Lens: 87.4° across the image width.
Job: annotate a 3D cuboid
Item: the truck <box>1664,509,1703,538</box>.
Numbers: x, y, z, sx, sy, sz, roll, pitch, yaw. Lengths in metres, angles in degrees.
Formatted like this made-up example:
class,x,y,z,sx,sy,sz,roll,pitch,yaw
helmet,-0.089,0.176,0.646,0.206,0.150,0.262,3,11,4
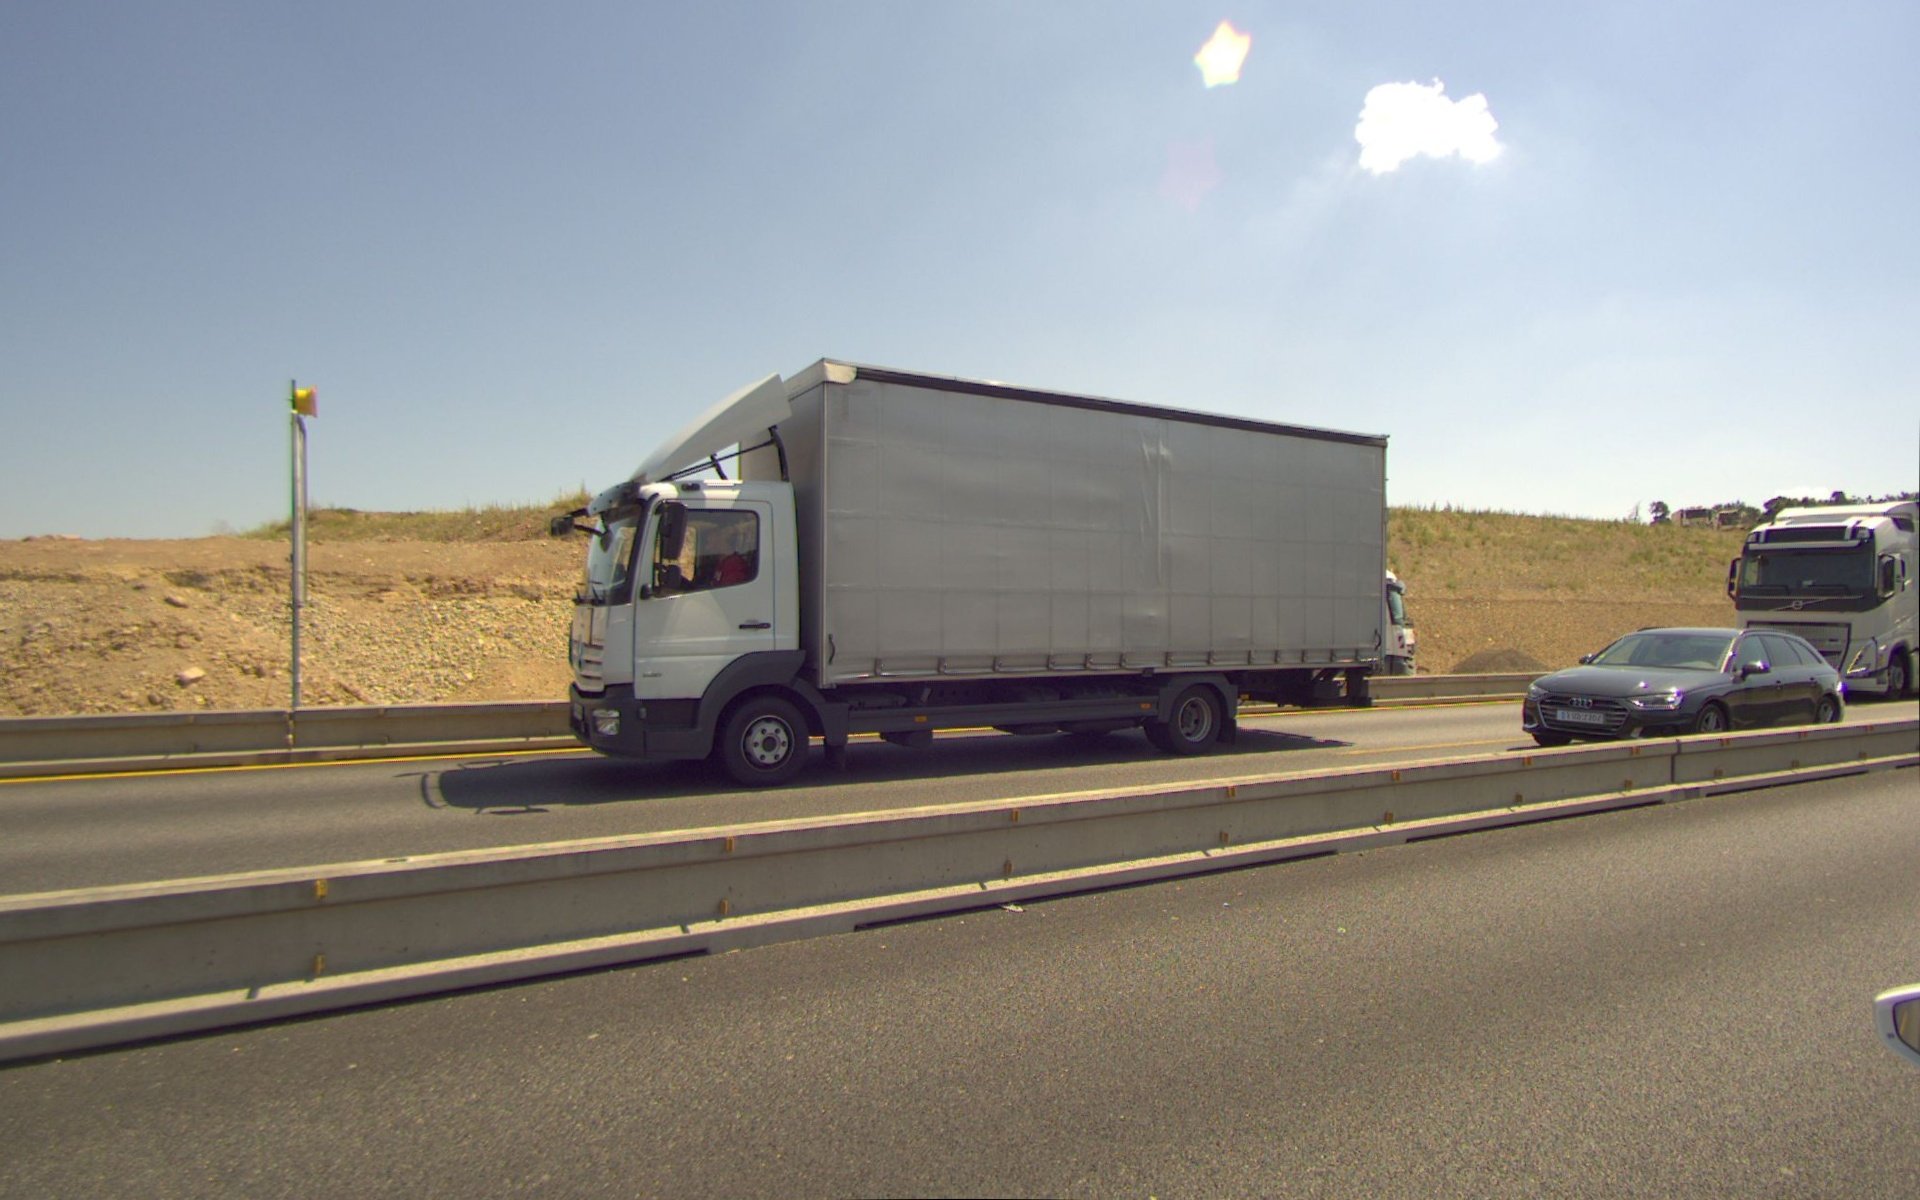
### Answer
class,x,y,z,sx,sy,sz,roll,pitch,yaw
truck,89.629,-9.452,124.622,2.317,2.937,8.361,1,0,25

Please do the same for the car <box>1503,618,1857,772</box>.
class,x,y,z,sx,sy,sz,roll,pitch,yaw
car,8.579,1.007,11.871,4.451,1.461,1.847,2,0,-32

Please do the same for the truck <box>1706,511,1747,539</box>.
class,x,y,z,sx,sy,sz,roll,pitch,yaw
truck,97.425,-9.478,127.823,2.259,2.785,8.899,1,0,25

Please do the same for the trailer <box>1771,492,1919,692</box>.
class,x,y,z,sx,sy,sz,roll,pitch,yaw
trailer,25.244,0.025,25.319,13.491,4.147,2.841,2,-2,-30

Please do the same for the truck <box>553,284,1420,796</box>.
class,x,y,z,sx,sy,sz,roll,pitch,yaw
truck,0.805,-0.332,10.901,9.370,3.766,2.632,2,0,-30

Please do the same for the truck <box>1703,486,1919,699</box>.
class,x,y,z,sx,sy,sz,roll,pitch,yaw
truck,18.805,-0.051,21.631,4.802,4.071,2.836,2,-2,-30

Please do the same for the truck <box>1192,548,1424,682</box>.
class,x,y,z,sx,sy,sz,roll,pitch,yaw
truck,8.577,0.307,24.790,4.971,3.003,2.582,1,0,30
